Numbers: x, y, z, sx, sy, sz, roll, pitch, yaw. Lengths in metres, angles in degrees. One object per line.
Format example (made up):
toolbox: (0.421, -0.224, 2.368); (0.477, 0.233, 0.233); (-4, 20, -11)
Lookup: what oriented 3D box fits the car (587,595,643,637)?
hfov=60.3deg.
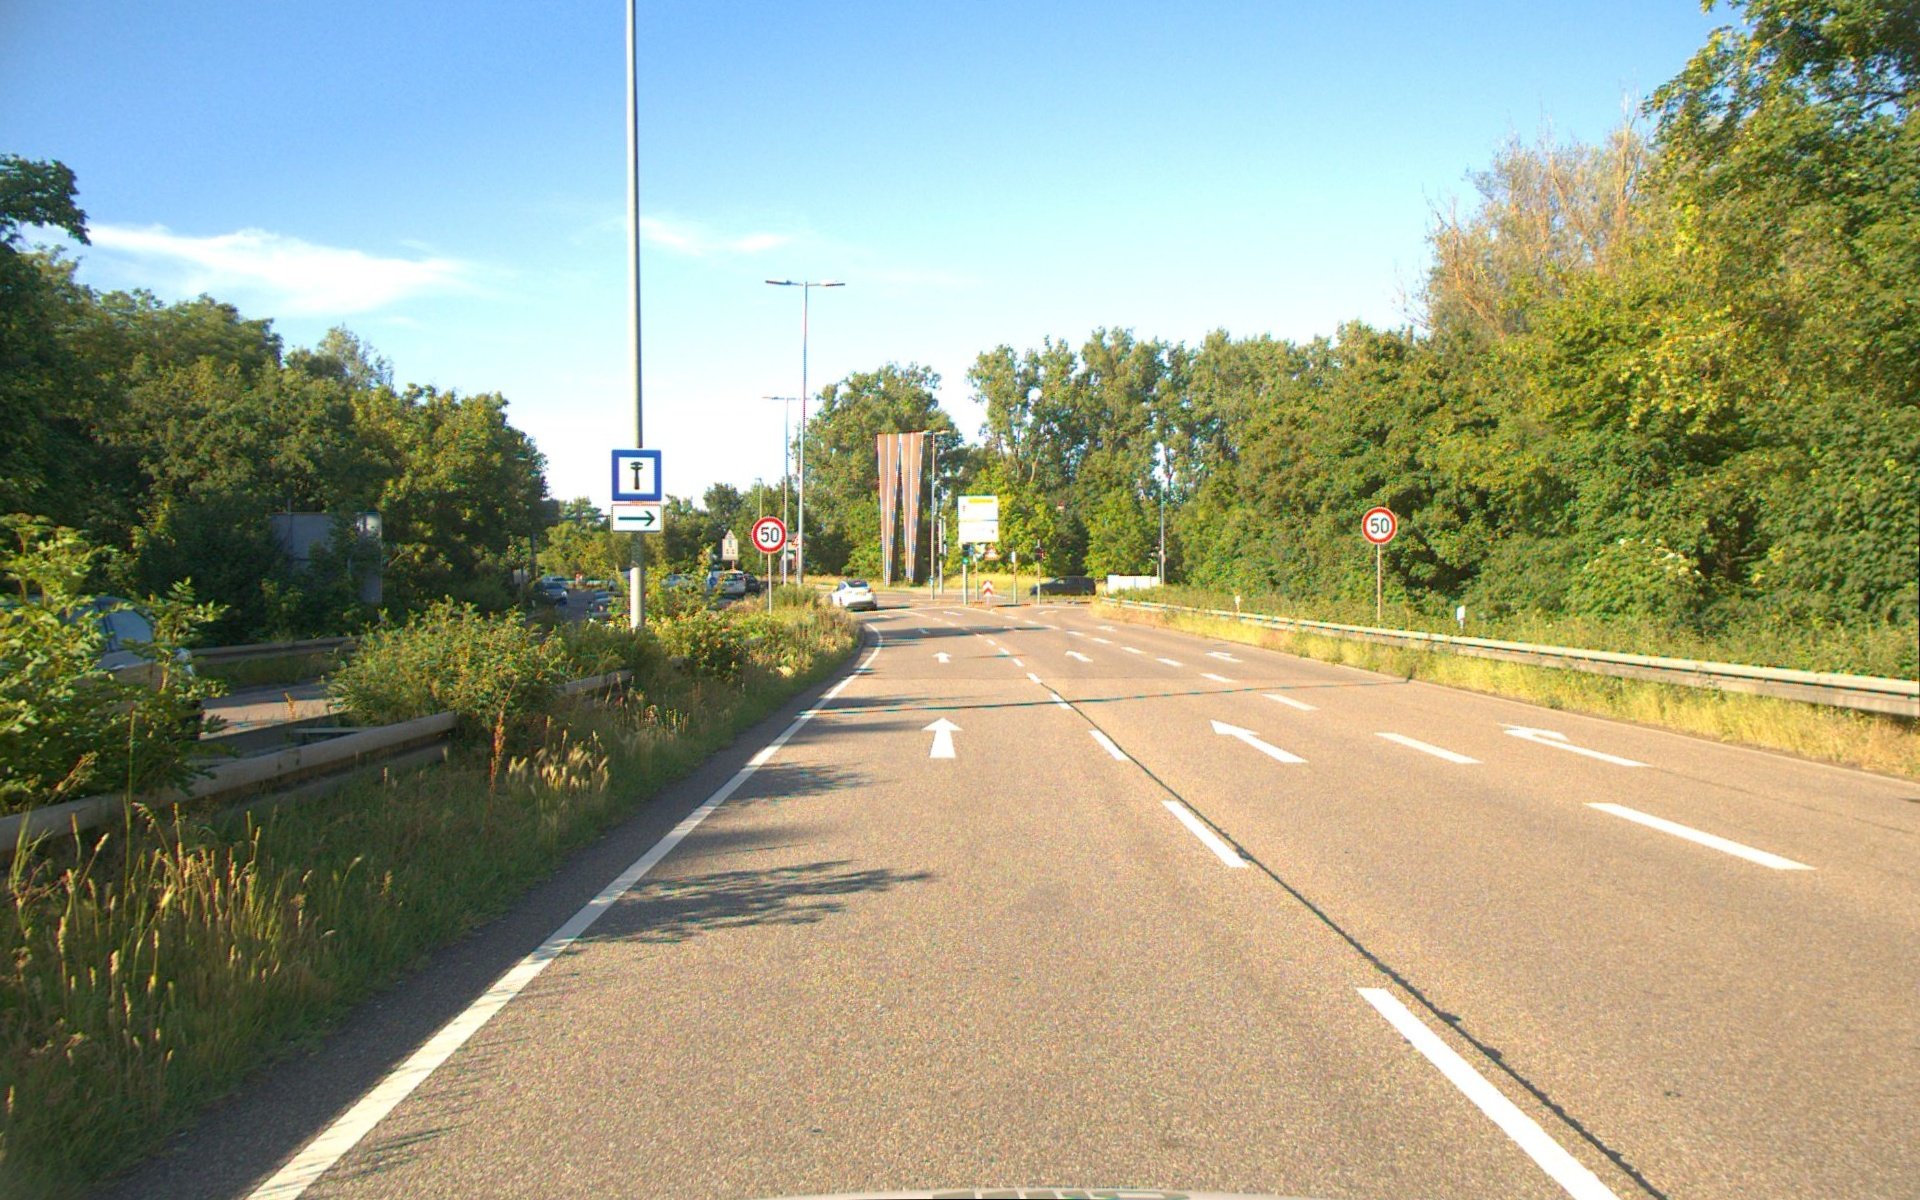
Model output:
car: (-12.811, 0.560, 61.615); (1.772, 1.441, 4.521); (-2, 1, -9)

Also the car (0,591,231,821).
car: (-7.653, 0.752, 13.360); (1.734, 1.597, 4.217); (-1, 0, -2)

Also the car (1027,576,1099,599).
car: (6.773, -0.824, 108.817); (4.376, 1.489, 1.996); (0, 2, -10)

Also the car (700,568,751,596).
car: (-16.427, -1.245, 115.808); (1.975, 1.912, 4.202); (-2, 1, -32)

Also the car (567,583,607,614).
car: (-18.991, -0.064, 84.091); (1.854, 1.445, 4.348); (-3, 1, -14)

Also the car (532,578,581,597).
car: (-34.103, -1.052, 139.863); (3.931, 1.534, 2.259); (0, 1, 44)

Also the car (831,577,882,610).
car: (-5.589, -0.377, 88.718); (1.961, 1.668, 4.112); (-1, 1, -15)

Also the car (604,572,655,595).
car: (-25.565, -1.290, 127.771); (3.931, 1.728, 1.963); (1, 2, 43)
